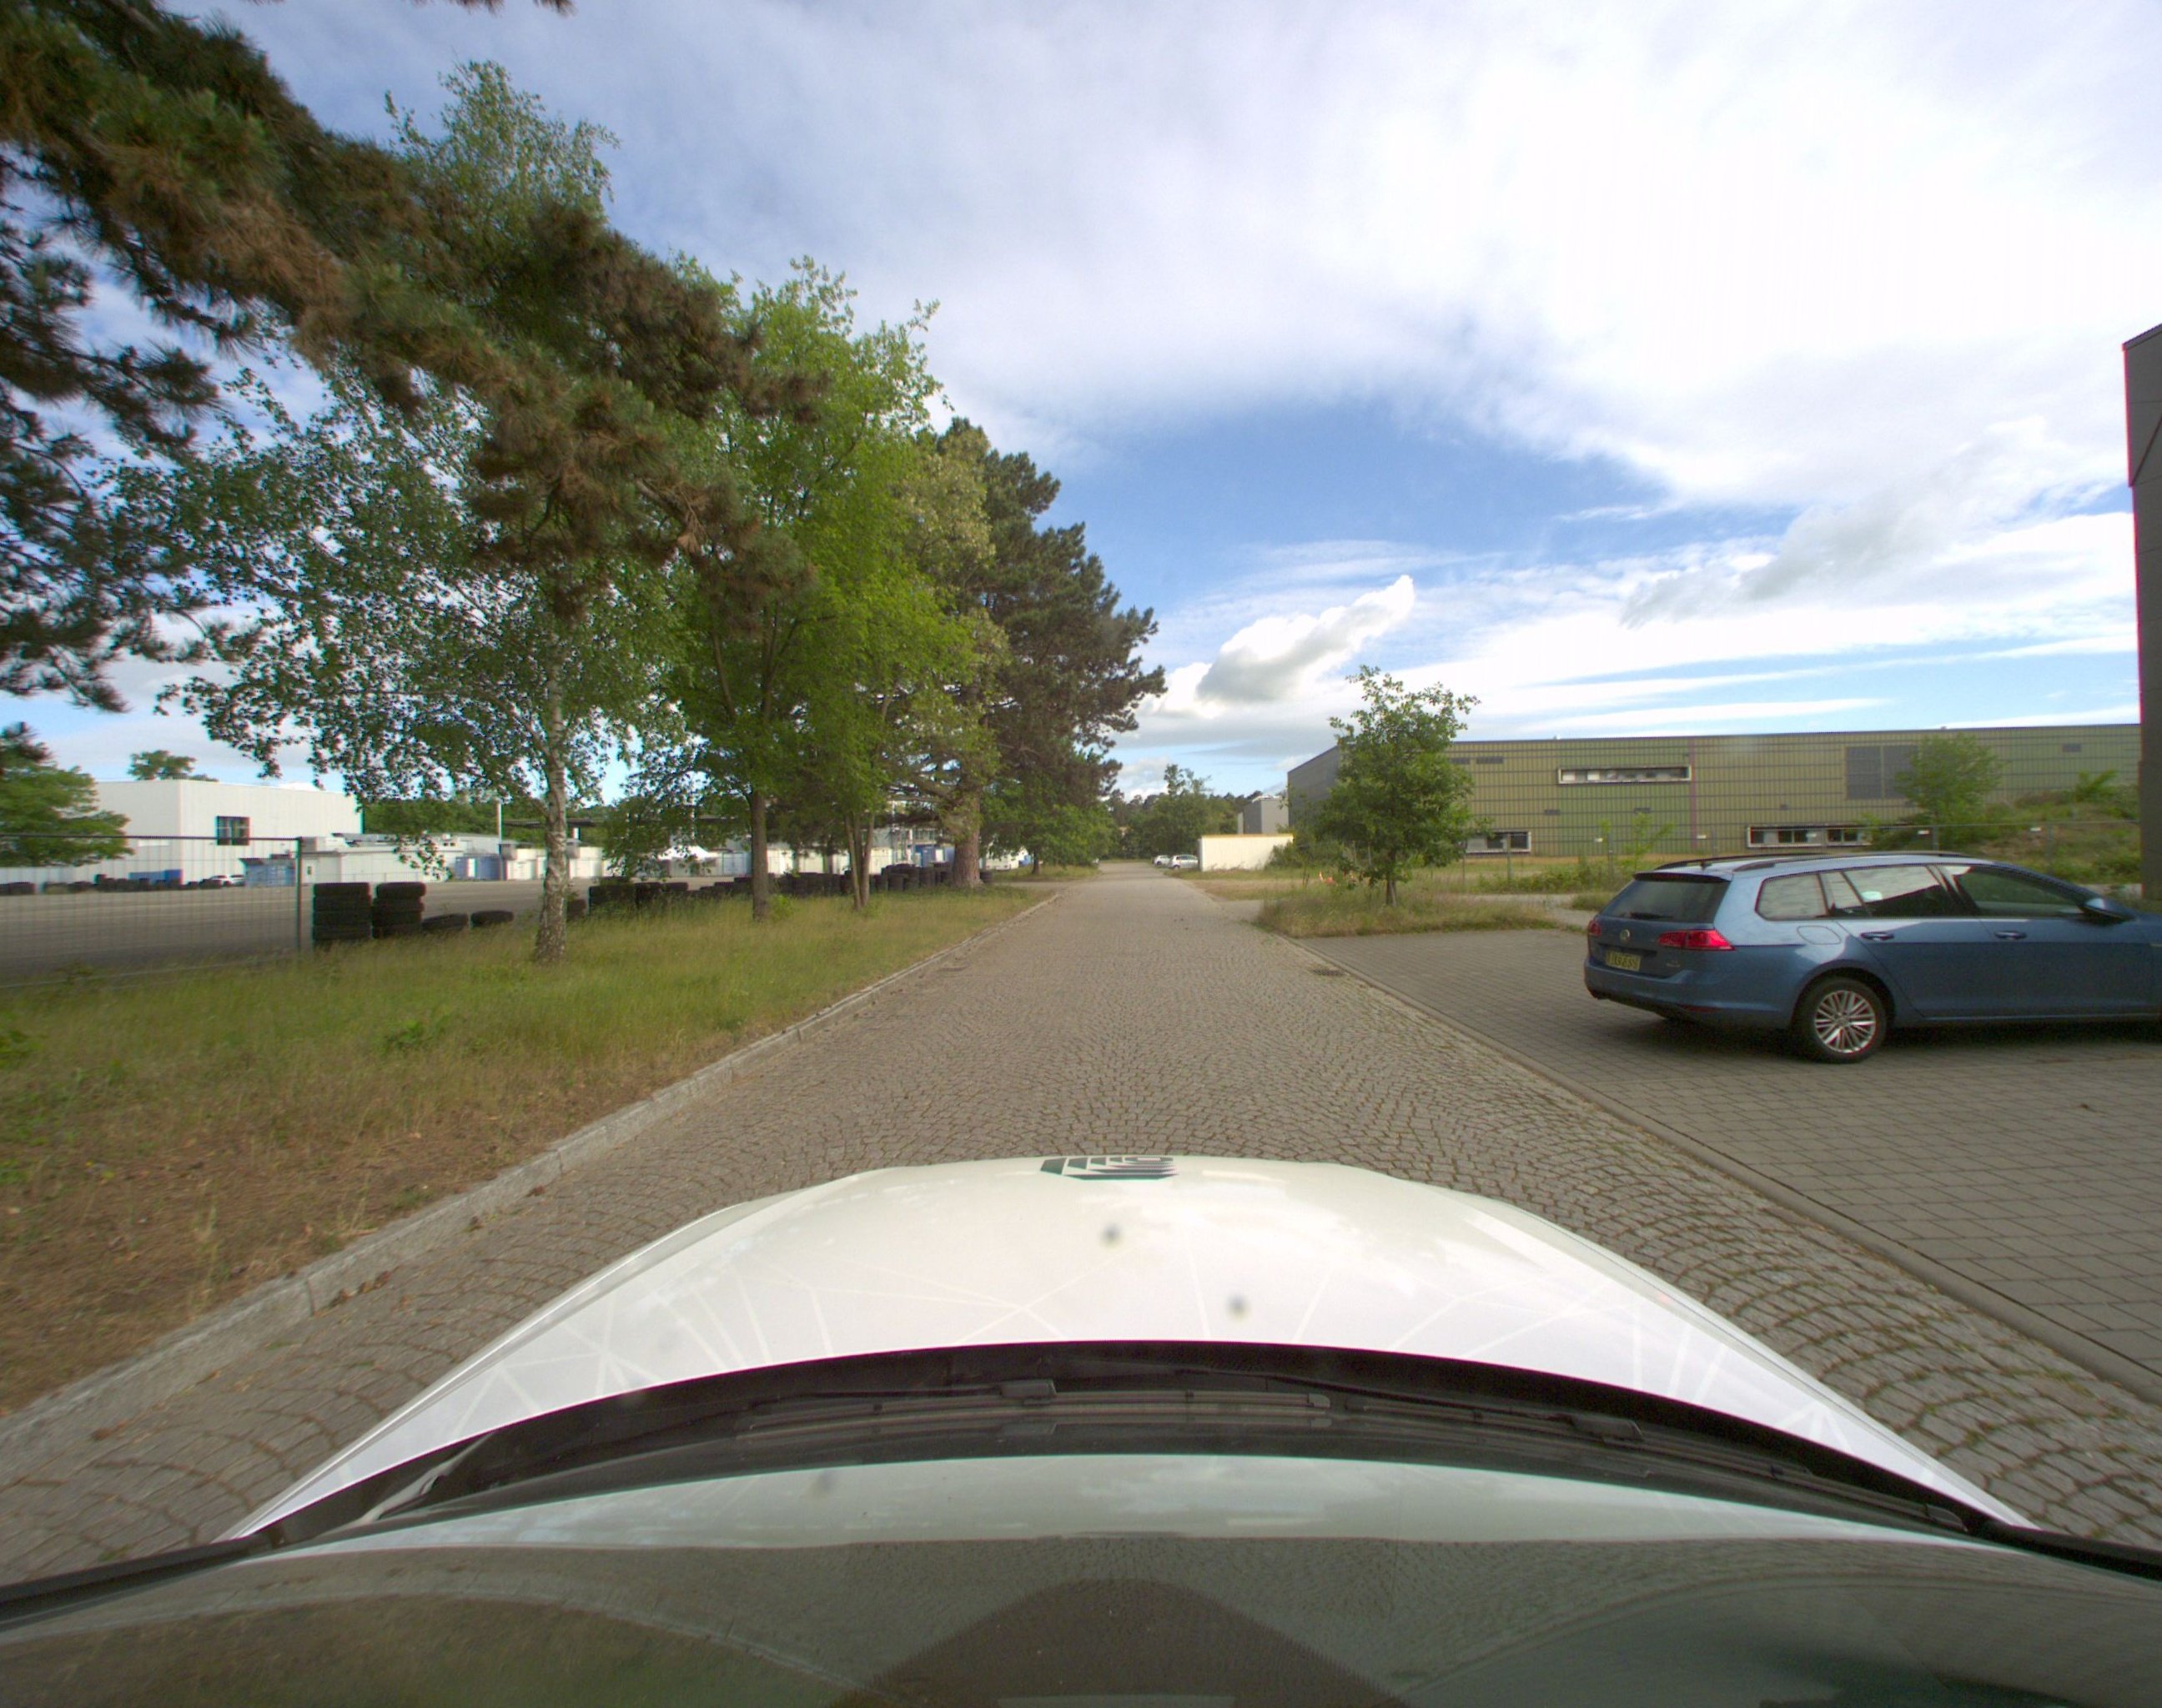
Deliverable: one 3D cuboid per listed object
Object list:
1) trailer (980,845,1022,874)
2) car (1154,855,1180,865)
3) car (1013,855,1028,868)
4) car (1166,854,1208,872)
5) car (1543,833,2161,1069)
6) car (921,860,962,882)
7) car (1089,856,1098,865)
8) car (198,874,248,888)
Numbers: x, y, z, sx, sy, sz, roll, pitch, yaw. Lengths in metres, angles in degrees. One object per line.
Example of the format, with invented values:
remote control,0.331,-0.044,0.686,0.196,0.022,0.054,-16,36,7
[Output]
trailer,-9.089,0.605,93.789,3.143,3.067,8.796,-1,0,5
car,13.312,0.915,126.285,4.007,1.502,1.550,-1,0,4
car,-10.002,1.163,134.427,1.918,2.047,4.601,-1,0,1
car,10.422,0.915,80.180,3.836,1.654,1.686,-1,0,0
car,6.590,0.678,6.705,4.508,1.443,1.823,-3,0,-1
car,-9.589,1.162,56.285,1.756,1.453,3.497,-1,0,9
car,2.396,1.208,155.261,1.797,1.535,4.001,-1,0,1
car,-97.178,3.041,92.298,3.952,1.533,1.630,-1,0,1
